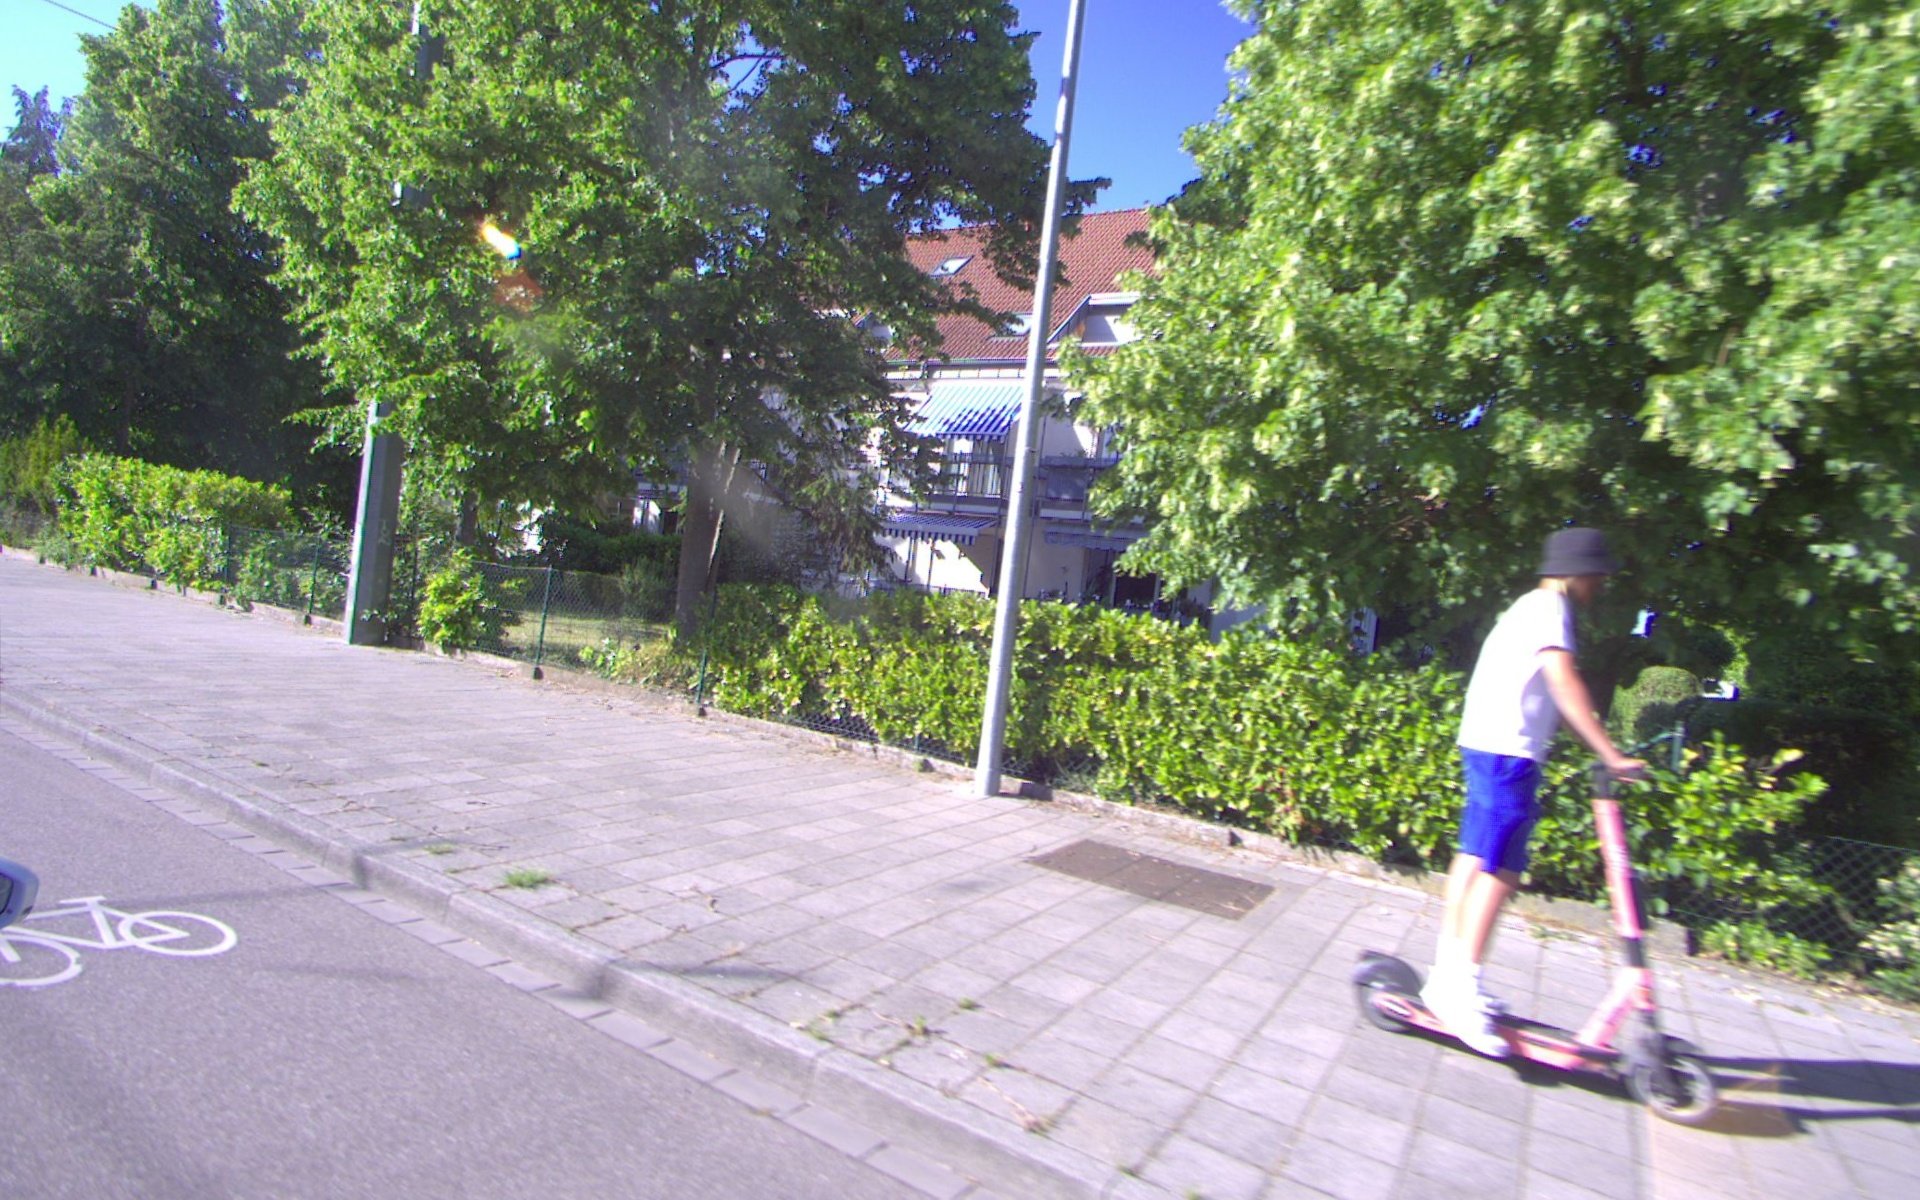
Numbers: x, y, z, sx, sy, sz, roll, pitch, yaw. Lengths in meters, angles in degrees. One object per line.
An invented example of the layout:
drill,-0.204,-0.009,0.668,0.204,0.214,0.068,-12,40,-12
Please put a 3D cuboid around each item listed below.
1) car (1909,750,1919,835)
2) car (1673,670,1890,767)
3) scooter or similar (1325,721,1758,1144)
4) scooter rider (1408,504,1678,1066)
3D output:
car,14.232,2.258,11.202,4.879,1.962,1.874,7,1,33
car,29.434,4.224,36.358,5.588,2.562,2.196,6,-2,31
scooter or similar,2.044,1.114,3.655,1.188,1.151,0.349,7,1,31
scooter rider,2.078,0.607,3.624,0.589,1.788,0.551,7,0,31
